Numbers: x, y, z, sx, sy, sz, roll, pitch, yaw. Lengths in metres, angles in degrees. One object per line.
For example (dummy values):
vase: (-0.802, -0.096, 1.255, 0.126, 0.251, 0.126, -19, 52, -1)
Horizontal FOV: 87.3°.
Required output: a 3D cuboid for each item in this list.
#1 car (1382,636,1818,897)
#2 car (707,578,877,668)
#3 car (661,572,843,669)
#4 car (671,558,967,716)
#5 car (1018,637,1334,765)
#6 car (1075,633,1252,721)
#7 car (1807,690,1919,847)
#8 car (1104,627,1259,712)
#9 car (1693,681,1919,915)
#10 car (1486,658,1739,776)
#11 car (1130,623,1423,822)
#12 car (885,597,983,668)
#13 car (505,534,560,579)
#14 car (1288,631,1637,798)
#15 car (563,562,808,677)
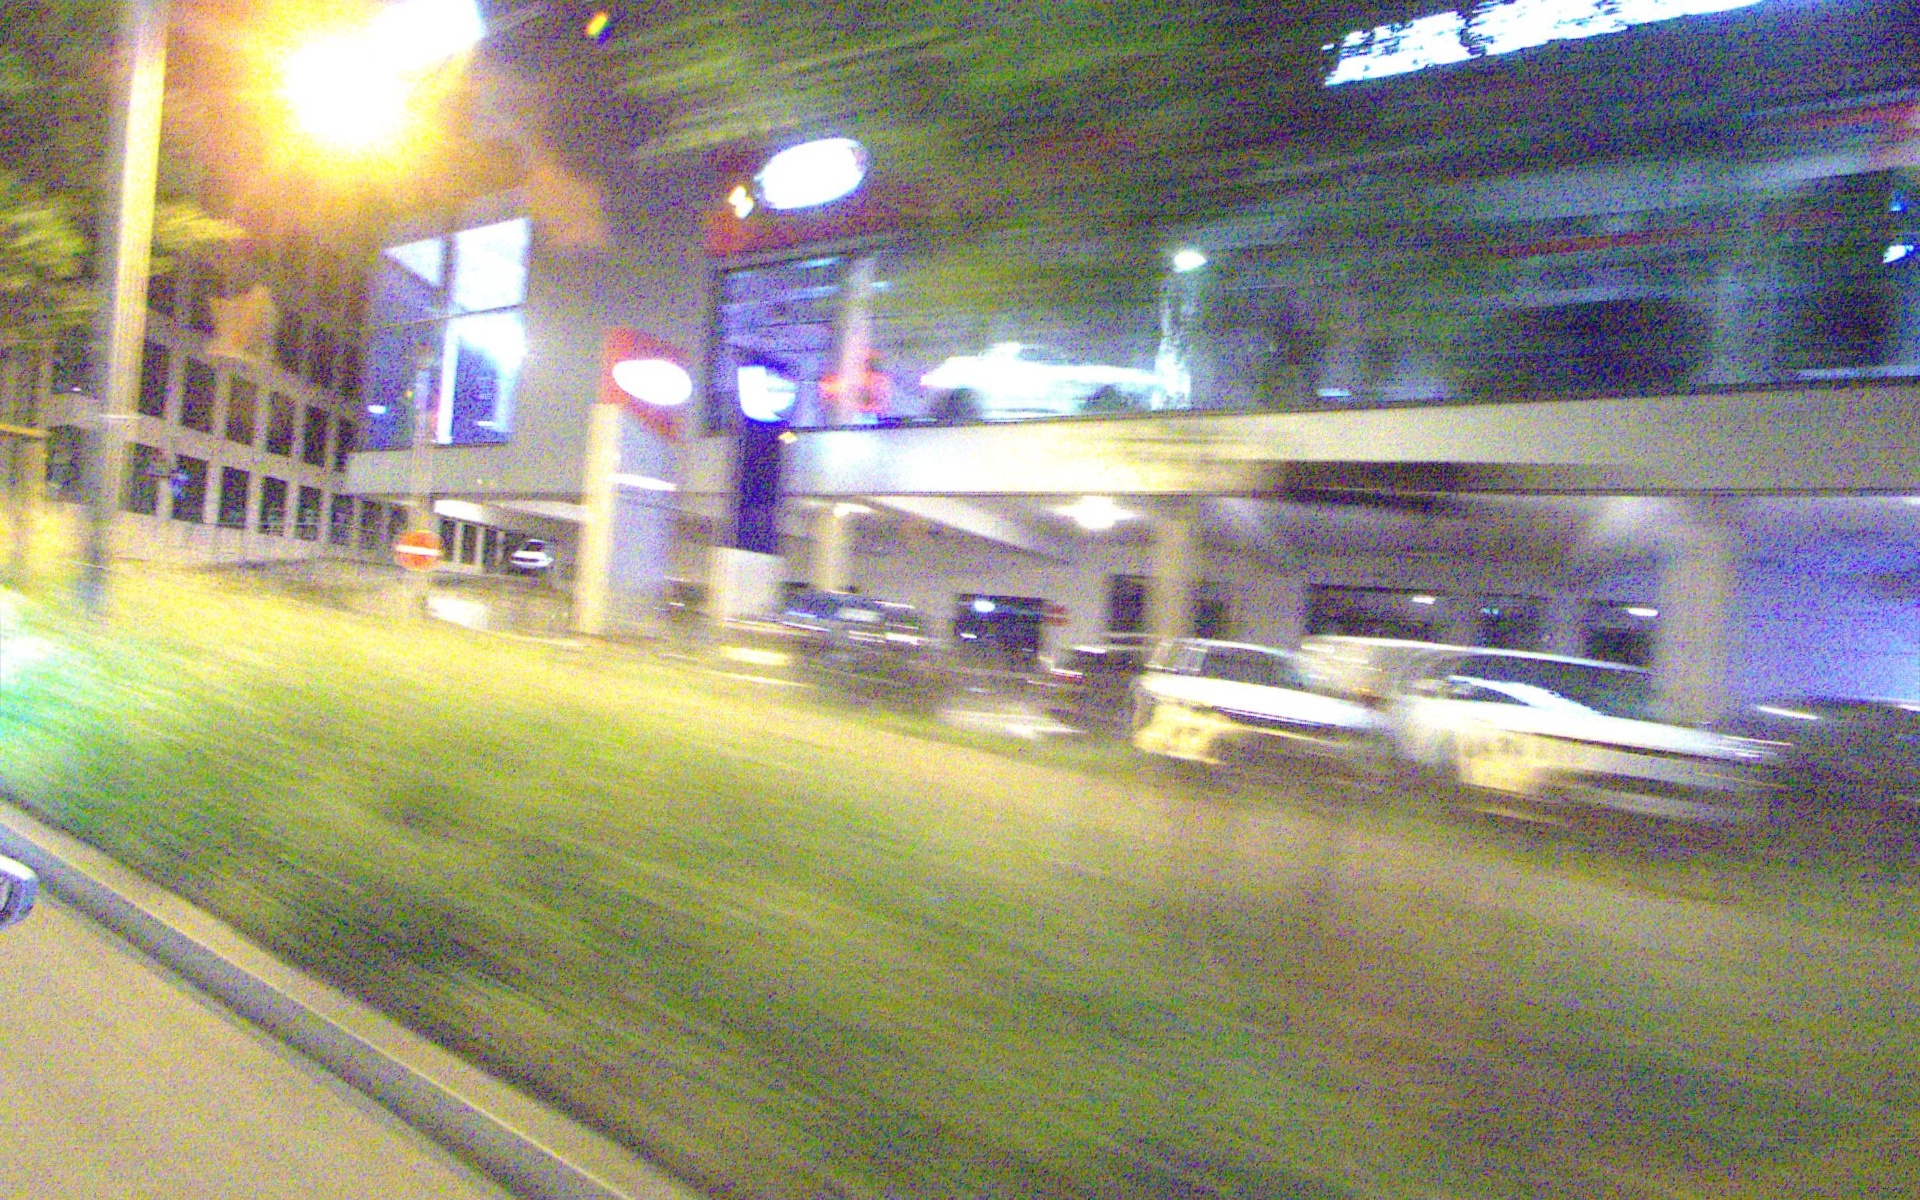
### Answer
car: (5.048, 1.180, 8.676, 1.873, 1.441, 4.003, 8, -1, 15)
car: (-4.850, 0.655, 29.011, 4.331, 2.017, 1.957, 6, -1, 26)
car: (-5.502, 0.547, 26.619, 4.331, 2.017, 1.816, 6, -1, 26)
car: (-1.500, 0.518, 12.441, 1.842, 1.436, 4.139, 6, -2, 19)
car: (3.131, 1.474, 15.164, 4.259, 1.426, 1.778, 5, -1, -2)
car: (4.391, 1.613, 21.685, 3.357, 1.532, 1.636, 3, -1, 27)
car: (11.253, 1.963, 10.963, 3.021, 1.504, 1.319, 7, 0, -9)
car: (5.307, 1.607, 24.126, 3.242, 1.662, 1.635, 4, 1, 27)
car: (7.271, 1.468, 7.224, 1.648, 1.450, 3.617, 7, -2, 9)
car: (12.176, 2.107, 19.183, 1.628, 1.673, 4.320, 7, -2, -4)
car: (2.836, 1.019, 10.145, 1.910, 1.279, 4.647, 8, -1, 8)
car: (-0.796, 1.124, 33.460, 1.716, 2.037, 3.717, 6, -1, 22)
car: (-19.824, -2.050, 46.781, 1.604, 1.685, 3.981, 1, 8, -12)
car: (6.533, 1.469, 13.244, 3.802, 1.818, 1.587, 4, -1, -8)
car: (-6.558, 0.438, 23.894, 5.529, 2.037, 1.999, 6, -1, 27)
